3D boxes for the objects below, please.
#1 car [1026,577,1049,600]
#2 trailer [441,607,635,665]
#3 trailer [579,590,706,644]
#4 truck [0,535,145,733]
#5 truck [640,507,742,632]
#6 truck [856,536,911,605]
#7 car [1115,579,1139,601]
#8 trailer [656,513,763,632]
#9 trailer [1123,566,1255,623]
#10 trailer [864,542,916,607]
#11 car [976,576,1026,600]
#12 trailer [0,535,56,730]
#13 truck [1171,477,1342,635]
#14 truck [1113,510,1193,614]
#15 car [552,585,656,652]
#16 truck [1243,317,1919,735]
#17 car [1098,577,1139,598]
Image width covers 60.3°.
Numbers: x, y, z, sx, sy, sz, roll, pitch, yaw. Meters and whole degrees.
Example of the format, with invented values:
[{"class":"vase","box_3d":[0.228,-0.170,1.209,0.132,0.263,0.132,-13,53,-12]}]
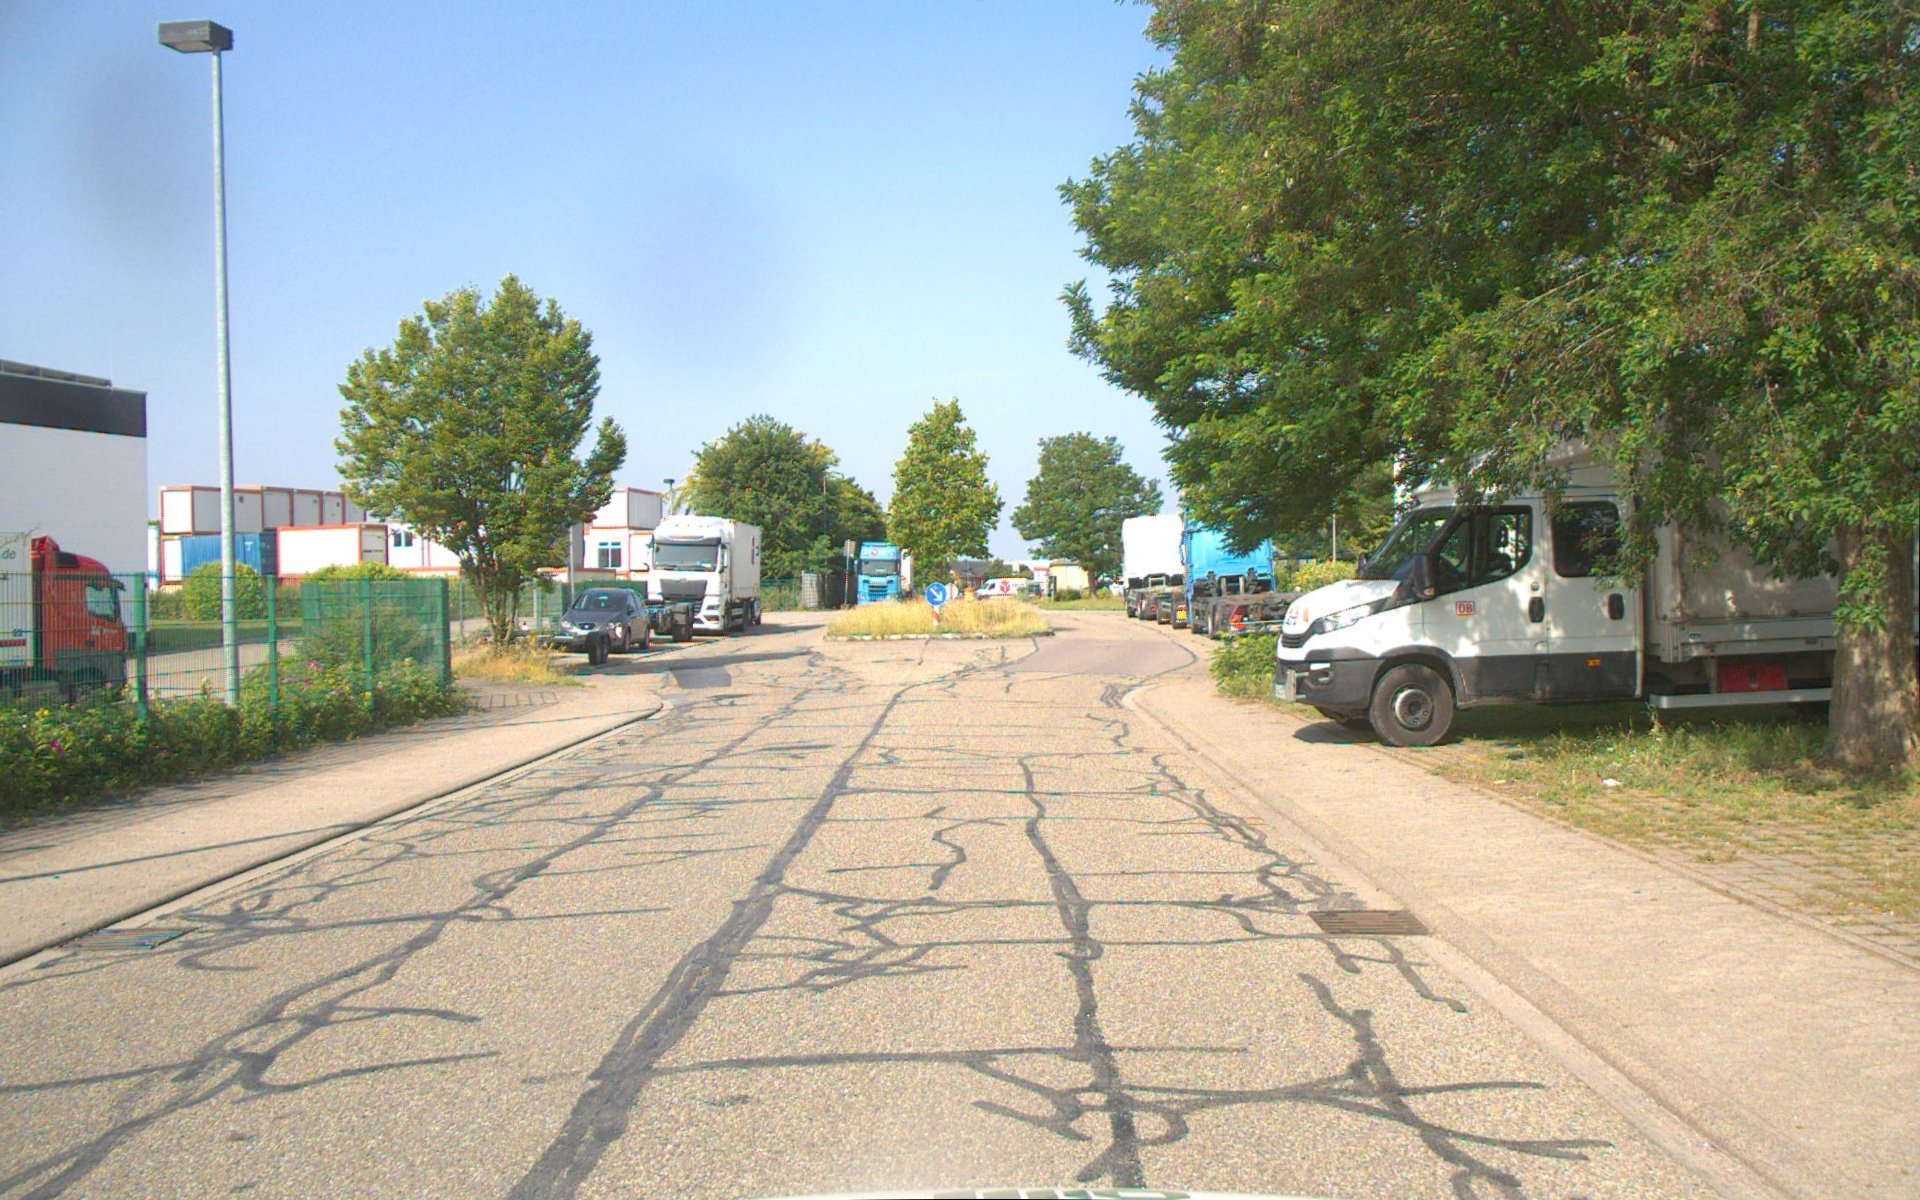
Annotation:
[{"class":"car","box_3d":[6.582,-0.962,140.243,1.755,1.780,3.999,1,-1,0]},{"class":"trailer","box_3d":[-8.958,0.725,35.862,2.495,0.941,6.709,2,1,-1]},{"class":"trailer","box_3d":[-9.263,0.454,48.762,2.625,1.479,5.078,0,1,2]},{"class":"truck","box_3d":[-20.991,0.716,36.294,2.459,4.142,5.547,1,-1,15]},{"class":"truck","box_3d":[-8.959,-0.953,55.435,2.653,3.990,4.296,1,-1,0]},{"class":"truck","box_3d":[-4.567,-1.670,100.026,2.767,3.893,9.672,1,-1,0]},{"class":"car","box_3d":[13.313,-0.795,132.013,1.681,1.646,4.002,1,-1,4]},{"class":"trailer","box_3d":[-8.922,-0.904,59.796,2.644,3.990,7.574,1,-1,0]},{"class":"trailer","box_3d":[7.968,-0.229,59.822,2.689,1.601,16.173,-3,0,1]},{"class":"trailer","box_3d":[-4.486,-1.582,108.790,2.773,3.910,12.035,1,-1,0]},{"class":"car","box_3d":[4.972,-1.408,200.395,5.667,2.782,1.994,1,-1,-12]},{"class":"trailer","box_3d":[-22.871,0.595,29.771,2.429,4.112,13.896,1,-1,16]},{"class":"truck","box_3d":[7.798,-1.045,44.930,2.829,3.596,9.756,-5,-1,1]},{"class":"truck","box_3d":[8.004,-1.550,68.880,2.690,4.050,4.000,-4,0,1]},{"class":"car","box_3d":[-9.100,0.431,42.604,1.661,1.588,4.336,1,1,1]},{"class":"truck","box_3d":[6.977,-0.673,15.610,8.041,3.429,2.741,-2,-1,-1]},{"class":"car","box_3d":[10.978,-0.861,114.437,1.641,1.353,3.648,1,-1,-15]}]
